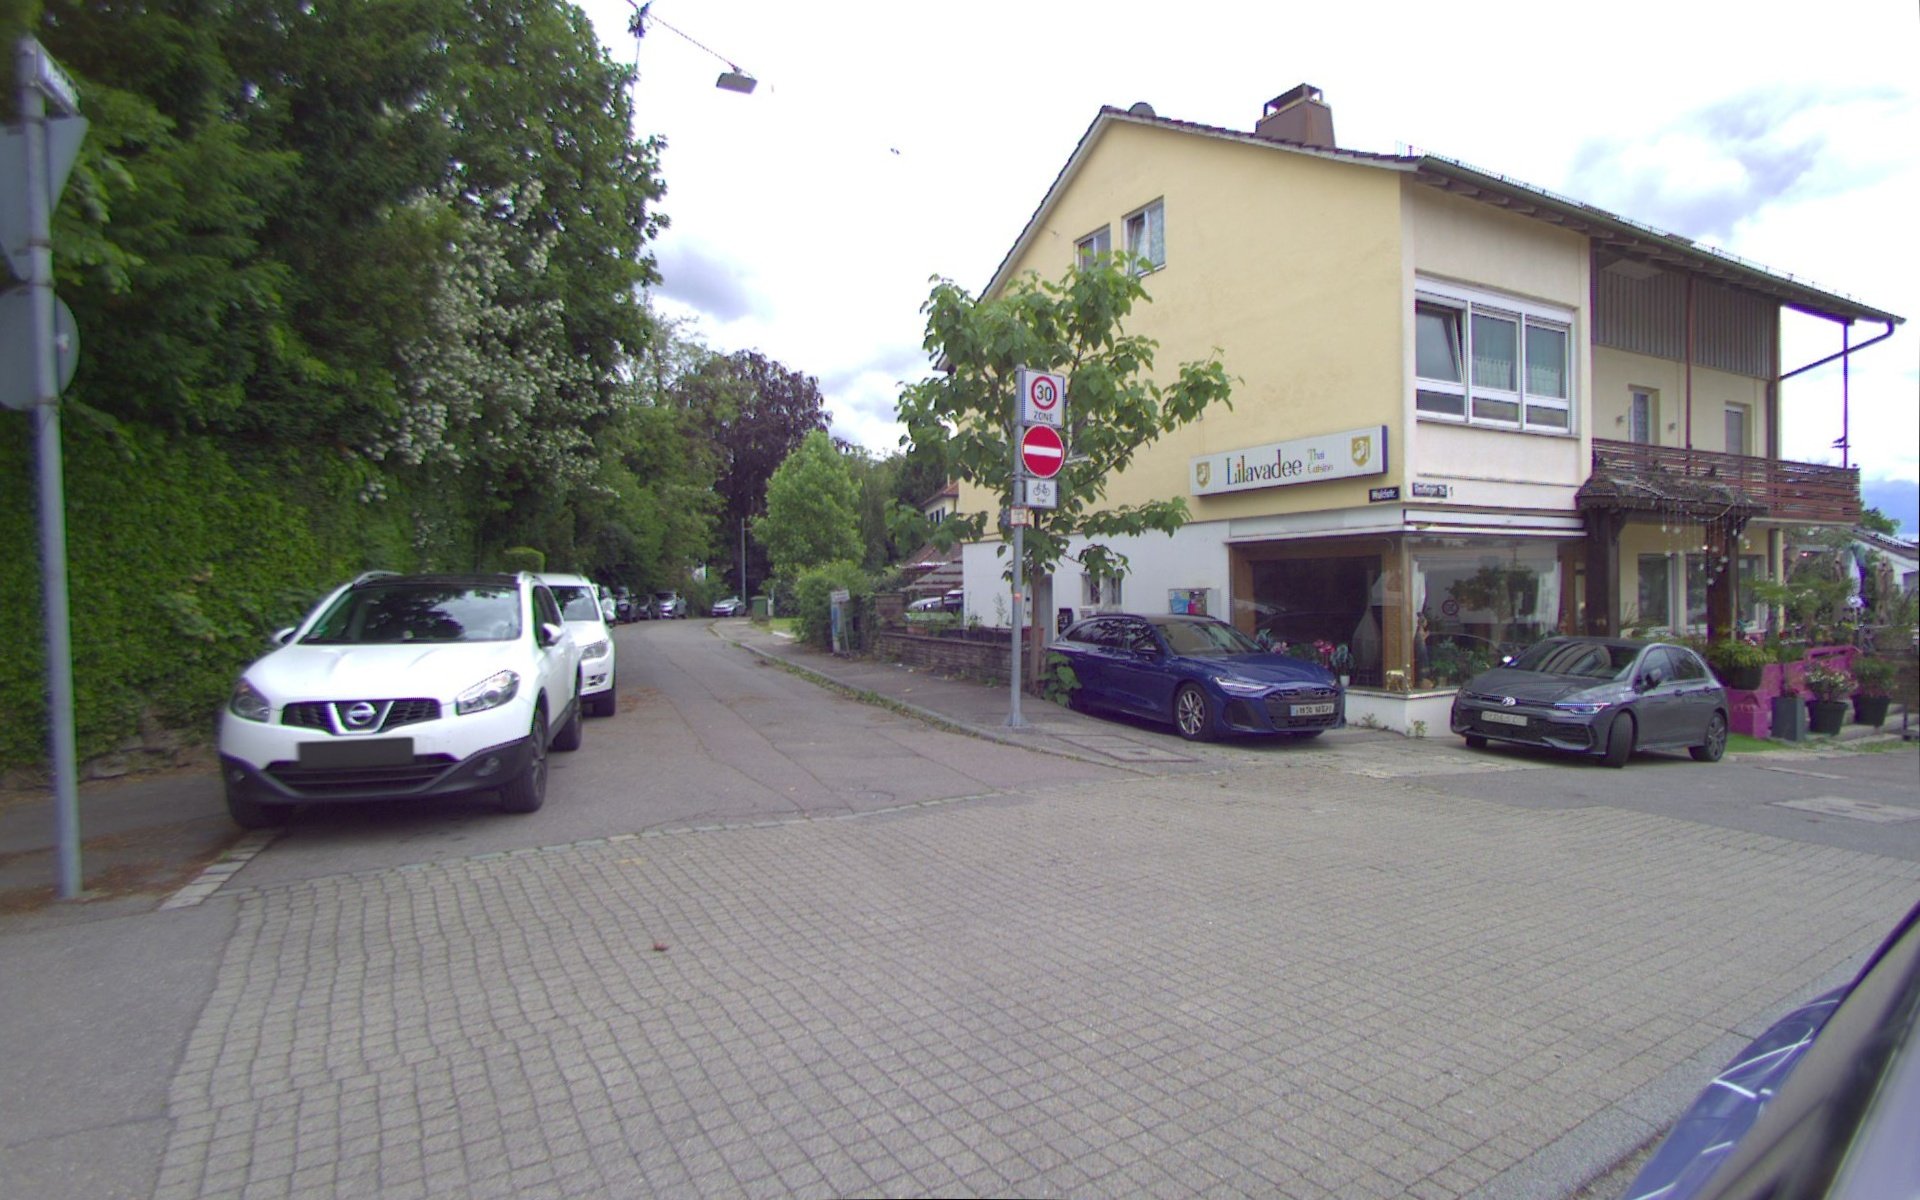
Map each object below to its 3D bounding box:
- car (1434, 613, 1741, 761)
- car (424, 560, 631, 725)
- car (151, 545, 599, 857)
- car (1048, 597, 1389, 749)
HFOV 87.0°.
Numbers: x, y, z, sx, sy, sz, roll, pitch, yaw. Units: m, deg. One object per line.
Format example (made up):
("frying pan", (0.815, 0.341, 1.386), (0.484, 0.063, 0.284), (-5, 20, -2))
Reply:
("car", (7.754, 1.037, 12.414), (3.808, 1.512, 1.875), (4, -3, -35))
("car", (-5.100, 0.408, 12.462), (1.829, 1.681, 4.076), (0, 0, -16))
("car", (-3.891, 0.513, 7.571), (1.829, 1.660, 4.075), (0, 0, -14))
("car", (3.041, 0.791, 12.882), (1.892, 1.548, 4.236), (3, -1, -25))
